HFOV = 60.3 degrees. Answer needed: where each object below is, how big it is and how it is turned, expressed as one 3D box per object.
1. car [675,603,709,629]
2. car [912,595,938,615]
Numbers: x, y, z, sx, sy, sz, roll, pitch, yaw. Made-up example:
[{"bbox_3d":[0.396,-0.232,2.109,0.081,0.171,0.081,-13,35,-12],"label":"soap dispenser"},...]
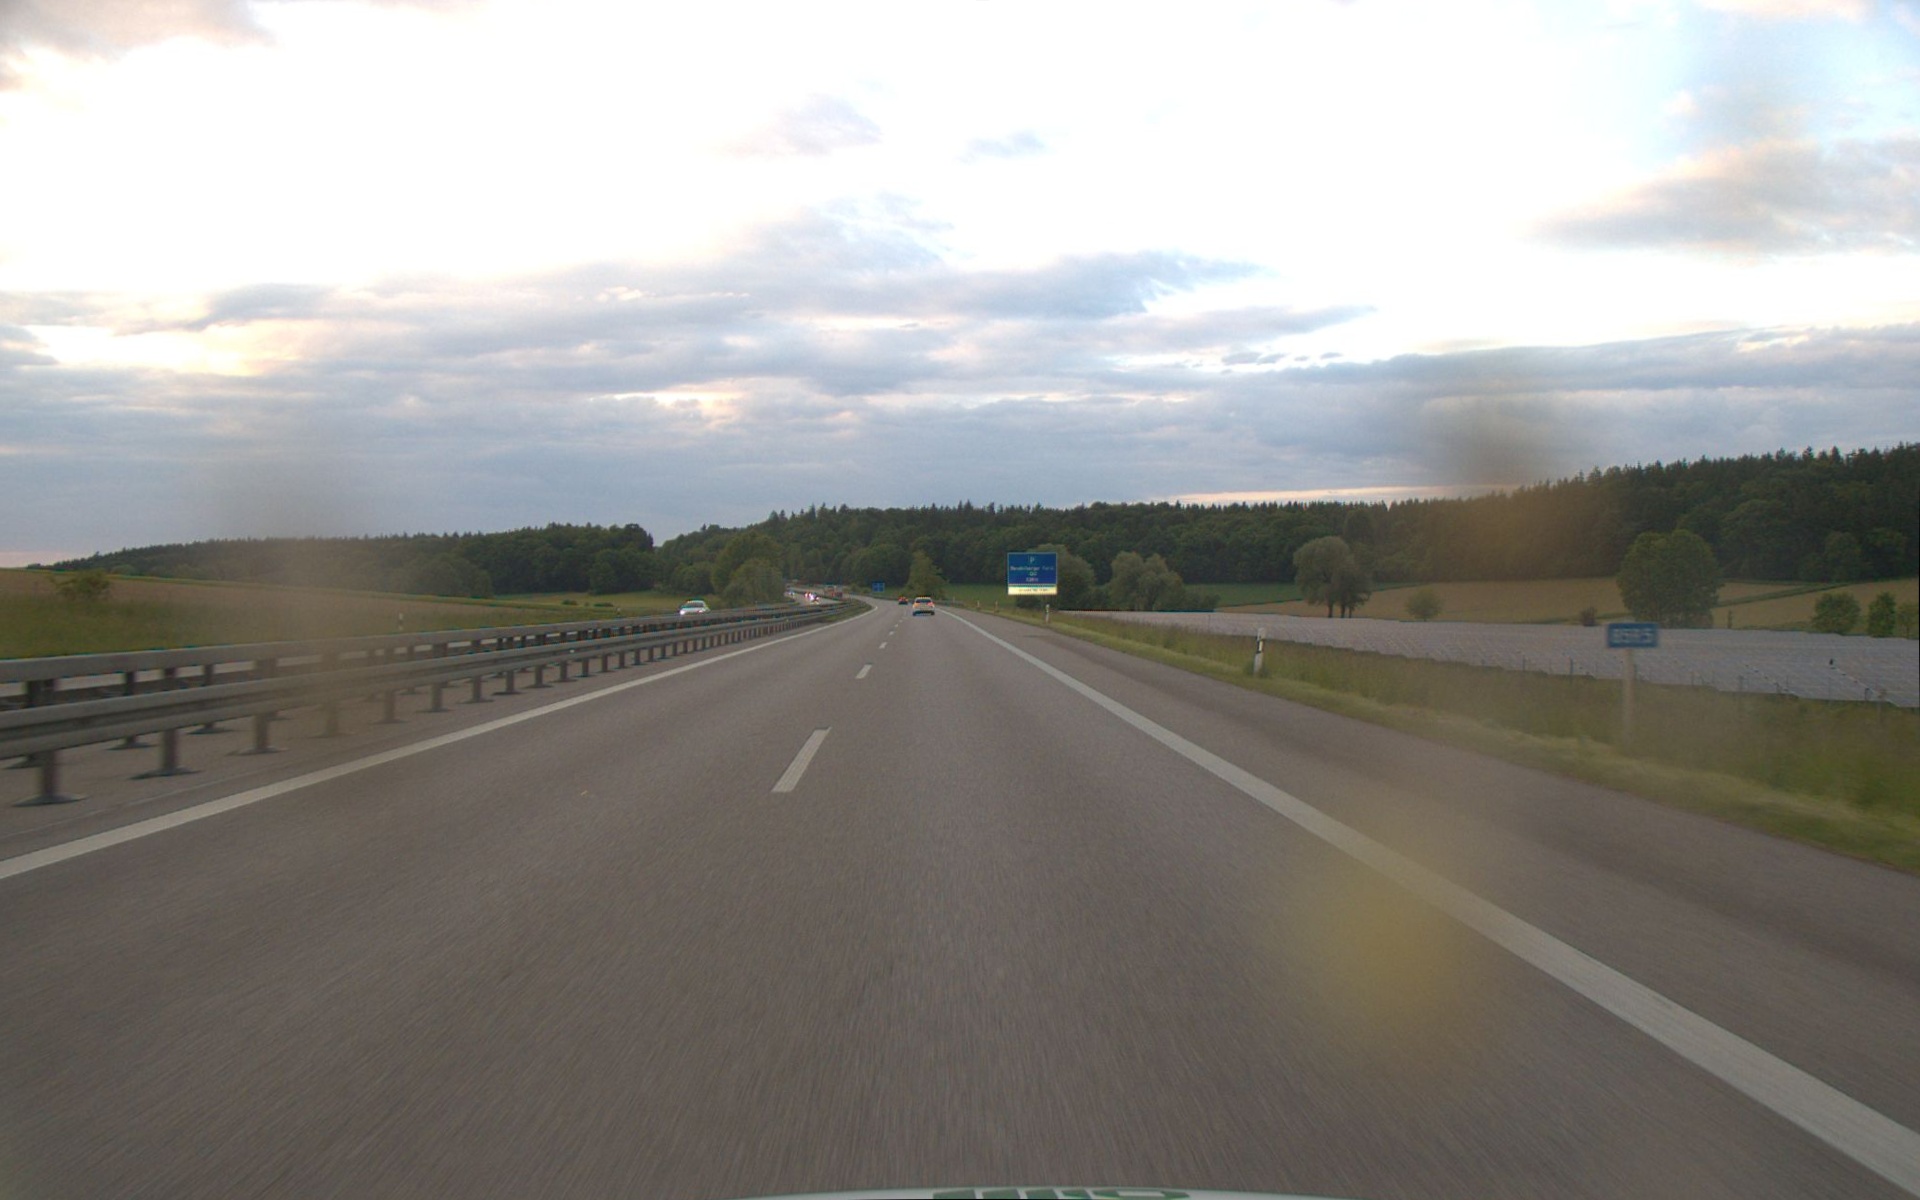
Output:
[{"bbox_3d":[-19.153,1.116,118.358,1.754,1.729,4.588,1,0,-1],"label":"car"},{"bbox_3d":[-2.907,0.425,135.889,1.913,1.558,4.077,1,0,-3],"label":"car"}]
